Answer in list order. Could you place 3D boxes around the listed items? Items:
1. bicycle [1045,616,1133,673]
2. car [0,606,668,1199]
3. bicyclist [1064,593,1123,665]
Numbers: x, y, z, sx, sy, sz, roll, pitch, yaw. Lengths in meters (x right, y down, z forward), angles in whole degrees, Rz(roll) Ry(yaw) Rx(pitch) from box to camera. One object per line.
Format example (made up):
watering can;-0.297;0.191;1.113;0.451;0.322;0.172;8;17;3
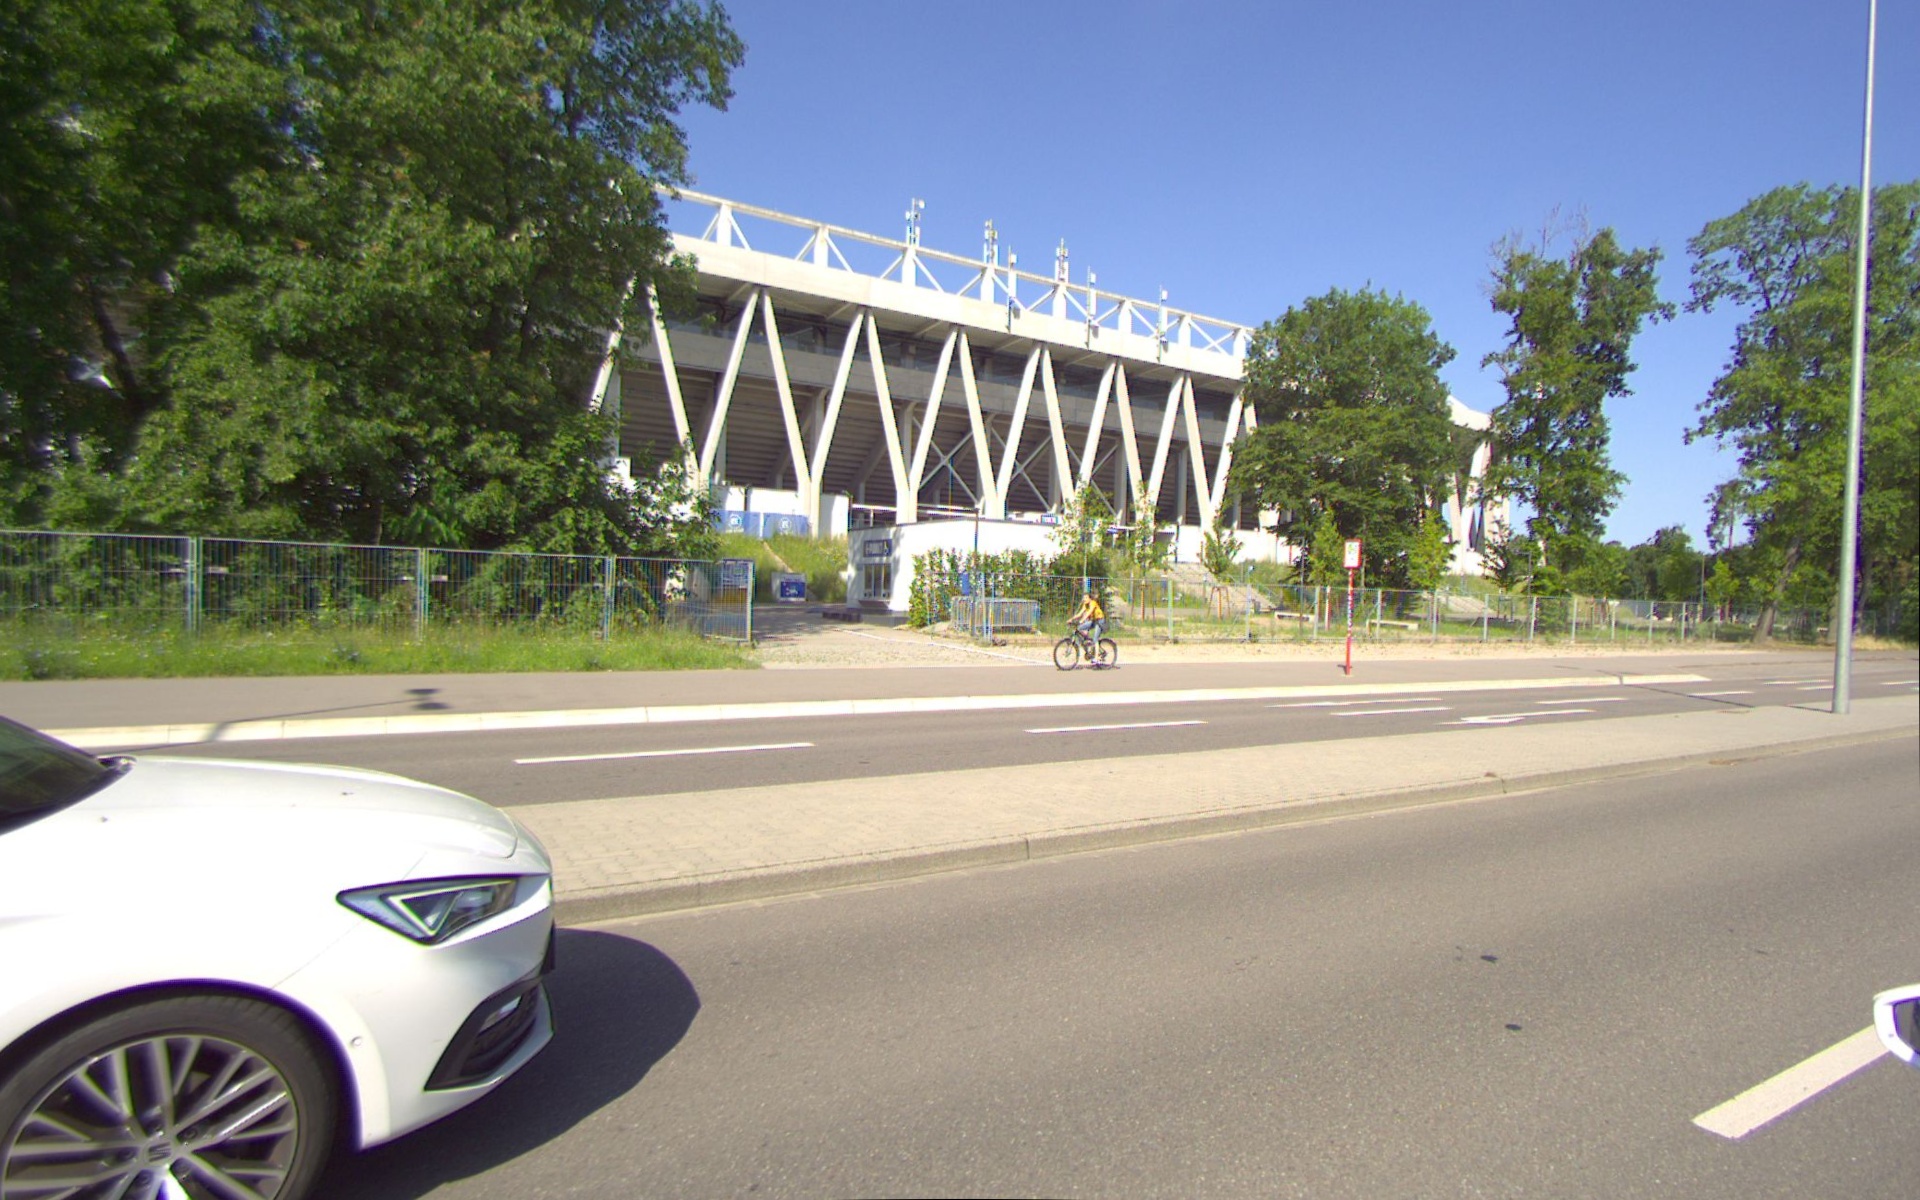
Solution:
bicycle;2.785;0.953;21.617;1.858;1.151;0.656;1;2;-32
car;-3.173;0.724;2.079;4.665;1.446;1.717;1;-1;-31
bicyclist;2.876;0.611;21.638;1.045;1.487;0.656;1;2;-32
